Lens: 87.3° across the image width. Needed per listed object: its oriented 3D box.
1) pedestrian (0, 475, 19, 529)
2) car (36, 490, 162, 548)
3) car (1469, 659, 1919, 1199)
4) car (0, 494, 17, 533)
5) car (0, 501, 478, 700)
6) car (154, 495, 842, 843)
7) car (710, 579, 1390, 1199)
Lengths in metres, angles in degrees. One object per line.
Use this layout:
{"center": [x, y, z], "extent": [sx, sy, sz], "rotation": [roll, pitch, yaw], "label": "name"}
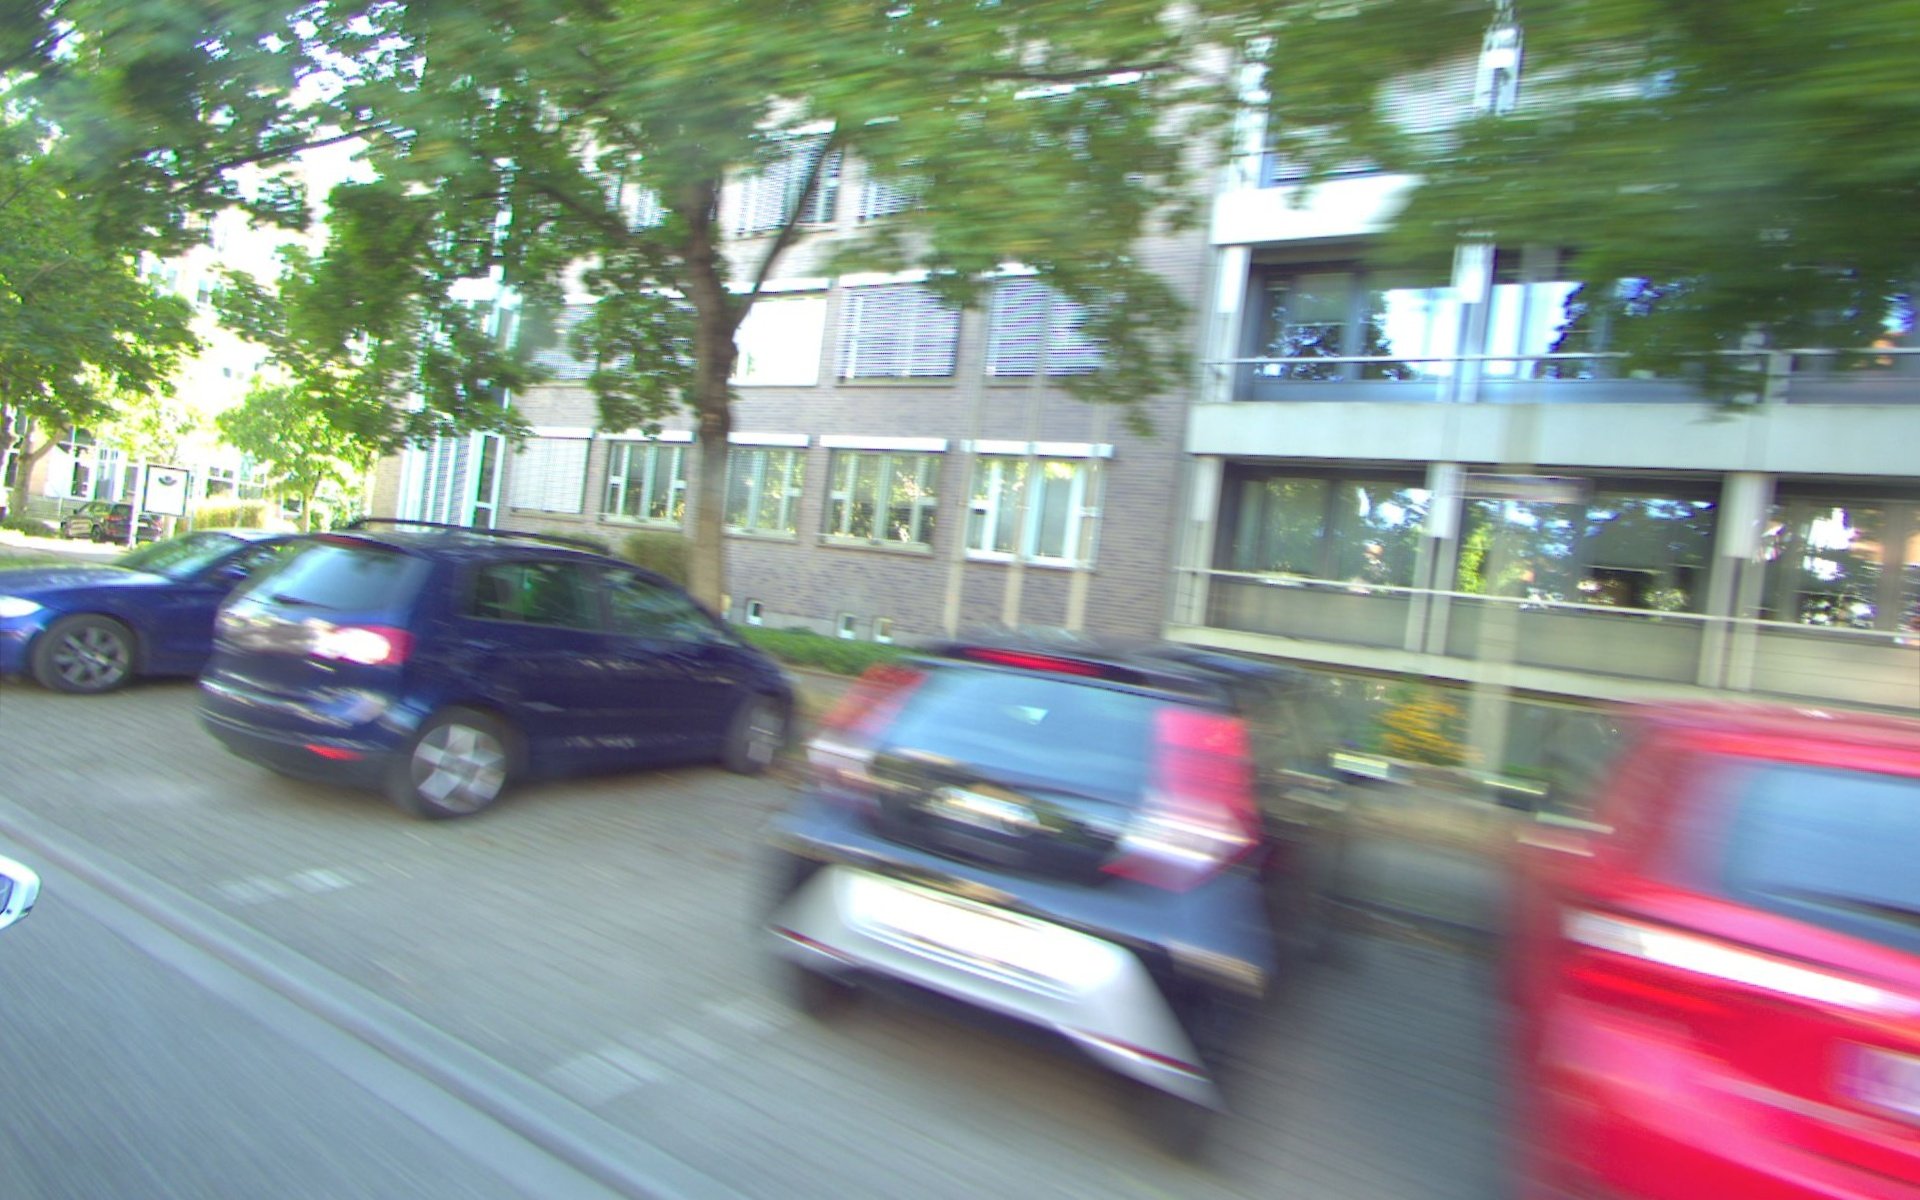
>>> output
{"center": [-29.282, -3.014, 30.661], "extent": [0.636, 1.601, 0.539], "rotation": [7, 1, 21], "label": "pedestrian"}
{"center": [-29.793, -2.811, 34.800], "extent": [4.291, 1.584, 1.742], "rotation": [5, -2, 28], "label": "car"}
{"center": [2.918, 1.101, 3.501], "extent": [1.804, 1.536, 4.134], "rotation": [7, 0, 26], "label": "car"}
{"center": [-40.190, -3.715, 40.849], "extent": [3.851, 1.480, 1.655], "rotation": [8, 0, 30], "label": "car"}
{"center": [-6.767, 0.003, 9.113], "extent": [1.625, 1.388, 4.122], "rotation": [7, 1, 27], "label": "car"}
{"center": [-2.719, 0.368, 6.975], "extent": [1.632, 1.610, 4.130], "rotation": [5, 0, 28], "label": "car"}
{"center": [0.911, 0.829, 4.645], "extent": [1.631, 1.480, 4.131], "rotation": [7, 1, 26], "label": "car"}
